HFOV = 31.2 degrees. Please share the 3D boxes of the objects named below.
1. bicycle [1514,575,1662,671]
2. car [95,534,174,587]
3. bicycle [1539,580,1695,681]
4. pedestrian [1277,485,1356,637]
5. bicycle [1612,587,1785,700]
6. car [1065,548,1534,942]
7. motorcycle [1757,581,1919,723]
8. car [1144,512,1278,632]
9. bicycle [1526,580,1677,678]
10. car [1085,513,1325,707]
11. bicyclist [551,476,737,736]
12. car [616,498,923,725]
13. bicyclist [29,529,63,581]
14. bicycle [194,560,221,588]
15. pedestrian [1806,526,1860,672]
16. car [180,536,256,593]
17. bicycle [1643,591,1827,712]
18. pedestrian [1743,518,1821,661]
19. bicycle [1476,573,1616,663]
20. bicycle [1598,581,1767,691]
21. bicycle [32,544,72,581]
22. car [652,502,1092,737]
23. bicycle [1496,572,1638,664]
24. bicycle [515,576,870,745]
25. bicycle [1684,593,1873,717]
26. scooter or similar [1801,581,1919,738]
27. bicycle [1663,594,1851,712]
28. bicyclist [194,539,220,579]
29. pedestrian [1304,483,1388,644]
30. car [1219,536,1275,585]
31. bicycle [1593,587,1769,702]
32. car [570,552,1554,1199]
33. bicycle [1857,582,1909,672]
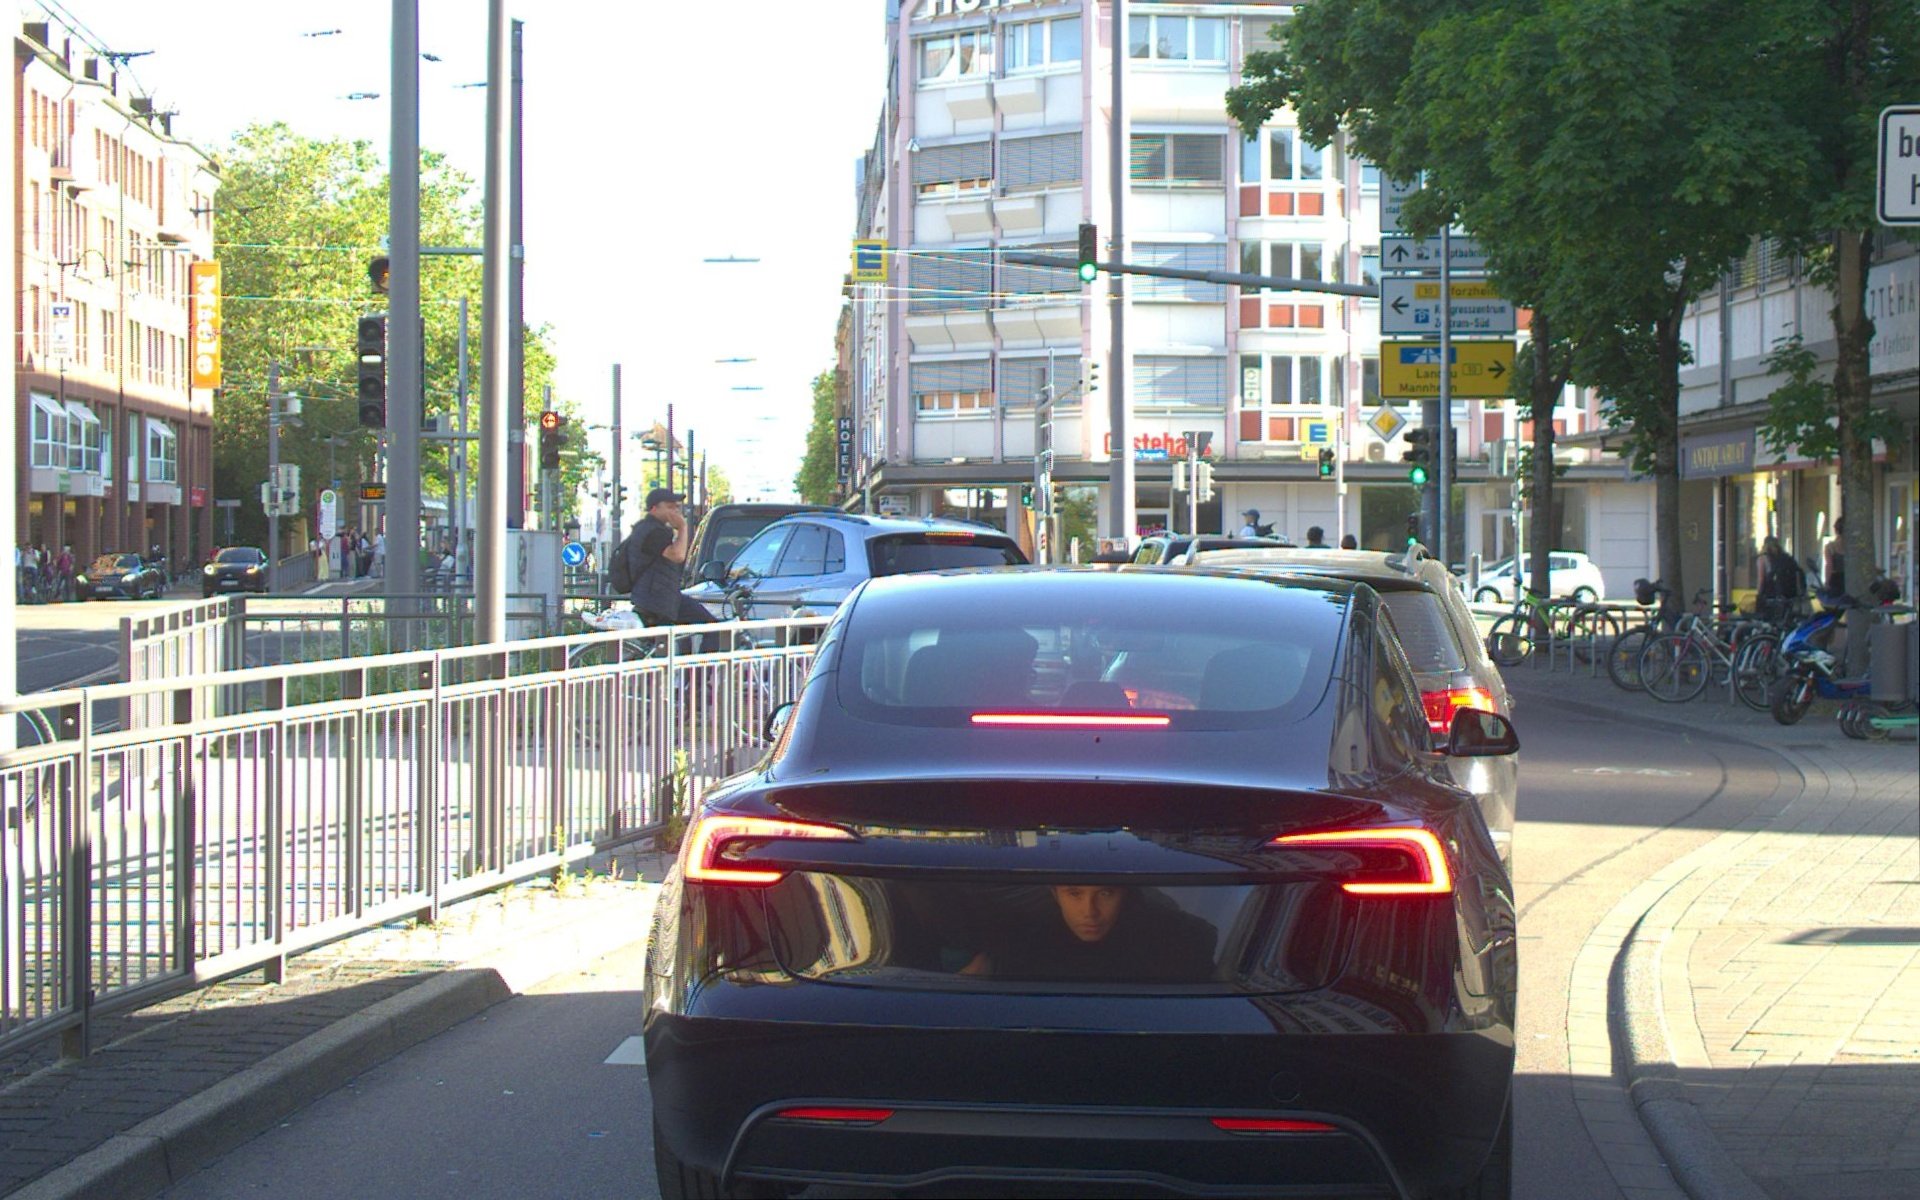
[{"bbox_3d":[7.365,0.268,40.339,1.650,1.095,0.350,1,0,1],"label":"bicycle"},{"bbox_3d":[-24.738,-1.179,103.129,1.710,1.521,4.037,1,1,-5],"label":"car"},{"bbox_3d":[7.313,0.341,38.299,1.650,1.095,0.350,1,0,1],"label":"bicycle"},{"bbox_3d":[4.785,-0.522,46.243,0.921,2.007,0.972,1,0,-1],"label":"pedestrian"},{"bbox_3d":[7.321,0.435,34.070,1.649,1.095,0.350,1,0,-10],"label":"bicycle"},{"bbox_3d":[1.485,0.515,15.032,1.751,1.449,3.999,1,1,6],"label":"car"},{"bbox_3d":[7.716,0.442,29.262,1.707,1.169,0.541,1,0,-2],"label":"motorcycle"},{"bbox_3d":[3.817,-0.432,52.756,1.719,1.745,3.754,1,1,-1],"label":"car"},{"bbox_3d":[7.333,0.328,39.326,1.650,1.095,0.350,1,0,1],"label":"bicycle"},{"bbox_3d":[2.327,0.072,33.567,1.598,1.772,3.982,1,1,-7],"label":"car"},{"bbox_3d":[-2.039,0.031,22.151,0.758,1.623,0.978,0,1,-39],"label":"bicyclist"},{"bbox_3d":[-1.872,0.077,32.535,1.993,2.007,4.001,0,1,-17],"label":"car"},{"bbox_3d":[-27.314,-1.346,102.729,0.784,1.558,0.746,0,1,2],"label":"bicyclist"},{"bbox_3d":[-29.379,-1.028,134.242,0.529,1.085,2.224,1,1,1],"label":"bicycle"},{"bbox_3d":[10.342,-0.013,40.726,0.526,1.704,0.403,1,0,4],"label":"pedestrian"},{"bbox_3d":[-22.870,-1.096,106.020,1.697,1.725,3.707,1,1,-3],"label":"car"},{"bbox_3d":[7.184,0.475,31.871,1.649,1.095,0.350,1,0,-10],"label":"bicycle"},{"bbox_3d":[9.699,-0.129,40.580,0.699,1.656,0.777,1,0,-1],"label":"pedestrian"},{"bbox_3d":[7.234,0.220,42.478,1.650,1.095,0.350,1,0,1],"label":"bicycle"},{"bbox_3d":[7.421,0.367,35.346,1.650,1.095,0.350,1,0,1],"label":"bicycle"},{"bbox_3d":[-27.297,-1.135,103.366,0.529,1.085,2.284,0,1,2],"label":"bicycle"},{"bbox_3d":[-0.775,0.114,26.512,1.883,1.656,4.159,1,1,-25],"label":"car"},{"bbox_3d":[7.302,0.211,41.384,1.650,1.095,0.350,0,1,1],"label":"bicycle"},{"bbox_3d":[-1.720,0.384,22.426,2.329,1.050,0.631,0,1,-38],"label":"bicycle"},{"bbox_3d":[7.386,0.494,31.026,1.649,1.095,0.350,1,0,-10],"label":"bicycle"},{"bbox_3d":[7.560,0.471,27.188,1.644,1.211,0.644,1,0,30],"label":"scooter or similar"},{"bbox_3d":[7.290,0.481,31.447,1.649,1.057,0.350,1,0,-10],"label":"bicycle"},{"bbox_3d":[-29.397,-1.594,134.218,0.784,1.558,0.746,1,0,2],"label":"bicyclist"},{"bbox_3d":[4.914,-0.464,43.809,0.921,2.007,0.972,1,0,-1],"label":"pedestrian"},{"bbox_3d":[6.732,-0.939,80.501,0.922,1.096,1.866,-3,0,16],"label":"car"},{"bbox_3d":[7.003,0.432,33.398,1.649,1.095,0.350,1,0,-10],"label":"bicycle"},{"bbox_3d":[0.333,0.631,8.444,1.829,1.450,3.999,1,1,4],"label":"car"},{"bbox_3d":[10.827,0.310,40.345,0.332,1.030,1.256,1,0,4],"label":"bicycle"}]
